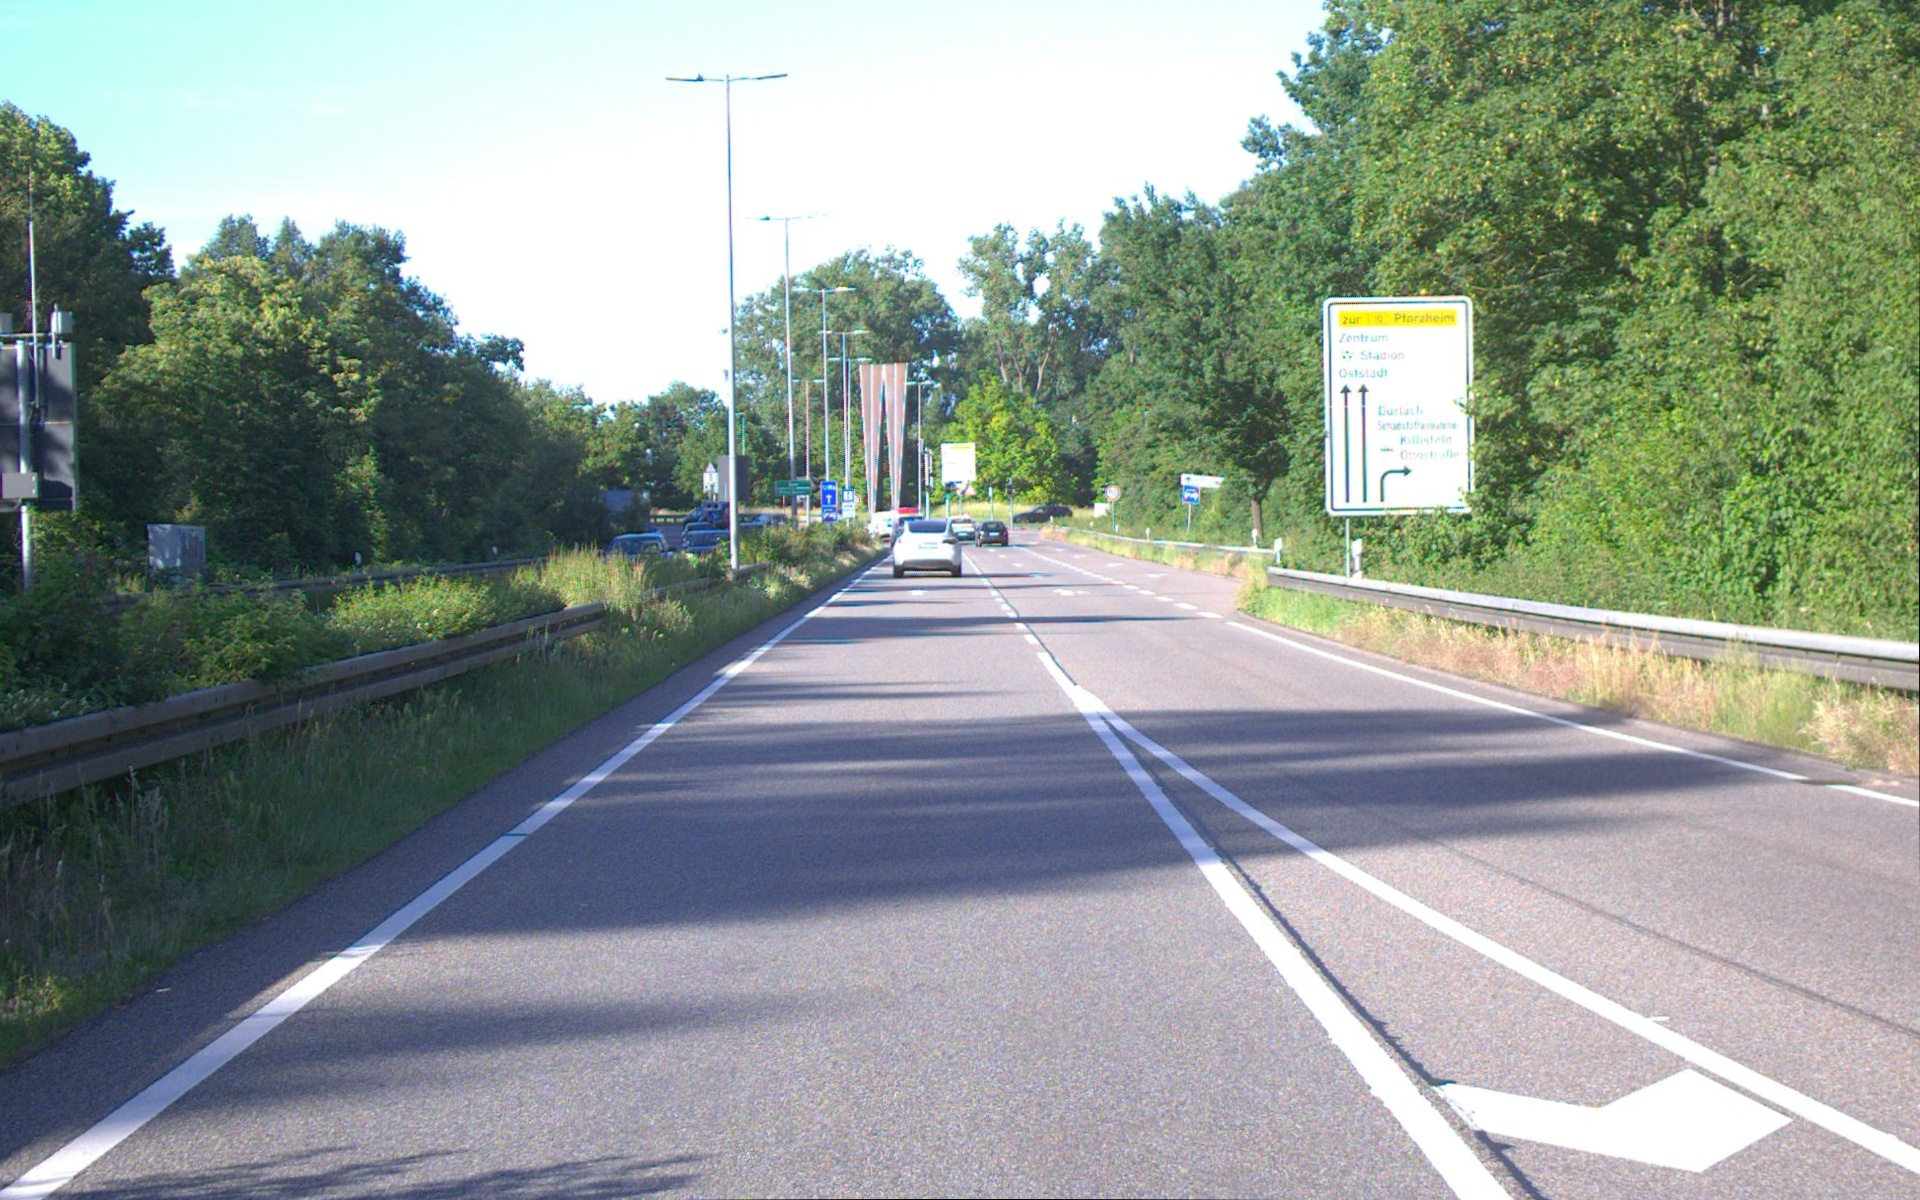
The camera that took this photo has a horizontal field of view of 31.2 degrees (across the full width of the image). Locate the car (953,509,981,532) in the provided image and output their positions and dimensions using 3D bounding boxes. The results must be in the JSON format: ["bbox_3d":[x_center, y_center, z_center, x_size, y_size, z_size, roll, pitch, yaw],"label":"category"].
[{"bbox_3d":[0.424,-4.785,206.835,1.624,1.276,2.987,1,0,-1],"label":"car"}]

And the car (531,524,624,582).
[{"bbox_3d":[-9.937,-1.247,89.554,1.781,1.398,4.553,-2,2,1],"label":"car"}]

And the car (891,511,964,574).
[{"bbox_3d":[-0.944,-1.657,98.004,1.993,1.634,4.129,-2,2,-1],"label":"car"}]

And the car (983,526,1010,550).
[{"bbox_3d":[1.984,-3.385,187.790,1.388,1.276,2.987,1,0,-1],"label":"car"}]

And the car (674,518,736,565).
[{"bbox_3d":[-8.641,-2.008,116.753,1.618,1.525,4.608,-2,2,1],"label":"car"}]

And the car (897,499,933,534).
[{"bbox_3d":[-2.584,-4.802,196.239,1.993,1.873,4.250,-2,2,-1],"label":"car"}]

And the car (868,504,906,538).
[{"bbox_3d":[-4.572,-4.933,215.064,1.993,2.007,4.001,1,1,-6],"label":"car"}]
